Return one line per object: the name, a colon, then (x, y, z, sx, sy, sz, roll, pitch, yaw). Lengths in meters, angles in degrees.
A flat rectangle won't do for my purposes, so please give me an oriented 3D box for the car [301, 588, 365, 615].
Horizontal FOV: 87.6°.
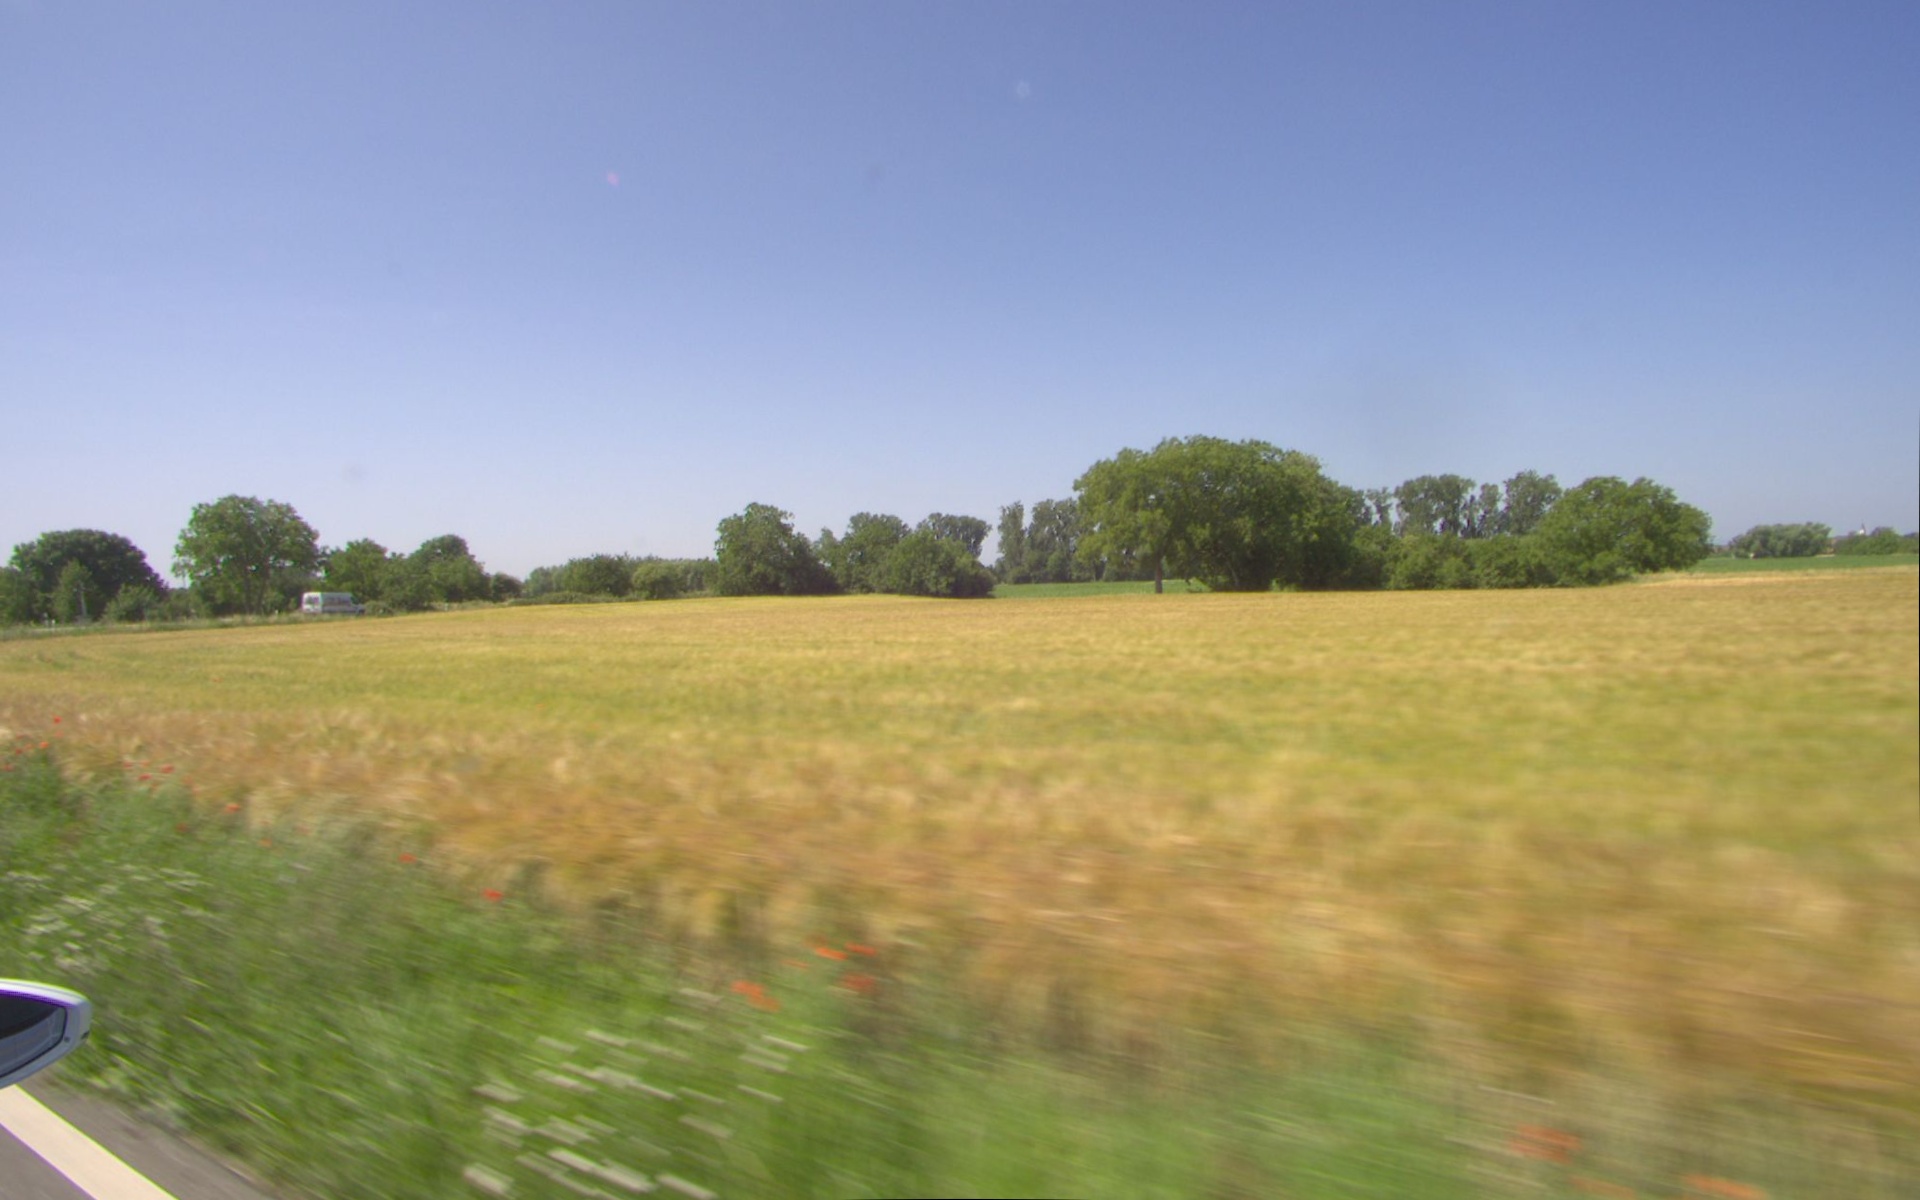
car: (-59.911, 0.127, 95.817, 2.070, 2.399, 5.683, -2, 2, 5)
